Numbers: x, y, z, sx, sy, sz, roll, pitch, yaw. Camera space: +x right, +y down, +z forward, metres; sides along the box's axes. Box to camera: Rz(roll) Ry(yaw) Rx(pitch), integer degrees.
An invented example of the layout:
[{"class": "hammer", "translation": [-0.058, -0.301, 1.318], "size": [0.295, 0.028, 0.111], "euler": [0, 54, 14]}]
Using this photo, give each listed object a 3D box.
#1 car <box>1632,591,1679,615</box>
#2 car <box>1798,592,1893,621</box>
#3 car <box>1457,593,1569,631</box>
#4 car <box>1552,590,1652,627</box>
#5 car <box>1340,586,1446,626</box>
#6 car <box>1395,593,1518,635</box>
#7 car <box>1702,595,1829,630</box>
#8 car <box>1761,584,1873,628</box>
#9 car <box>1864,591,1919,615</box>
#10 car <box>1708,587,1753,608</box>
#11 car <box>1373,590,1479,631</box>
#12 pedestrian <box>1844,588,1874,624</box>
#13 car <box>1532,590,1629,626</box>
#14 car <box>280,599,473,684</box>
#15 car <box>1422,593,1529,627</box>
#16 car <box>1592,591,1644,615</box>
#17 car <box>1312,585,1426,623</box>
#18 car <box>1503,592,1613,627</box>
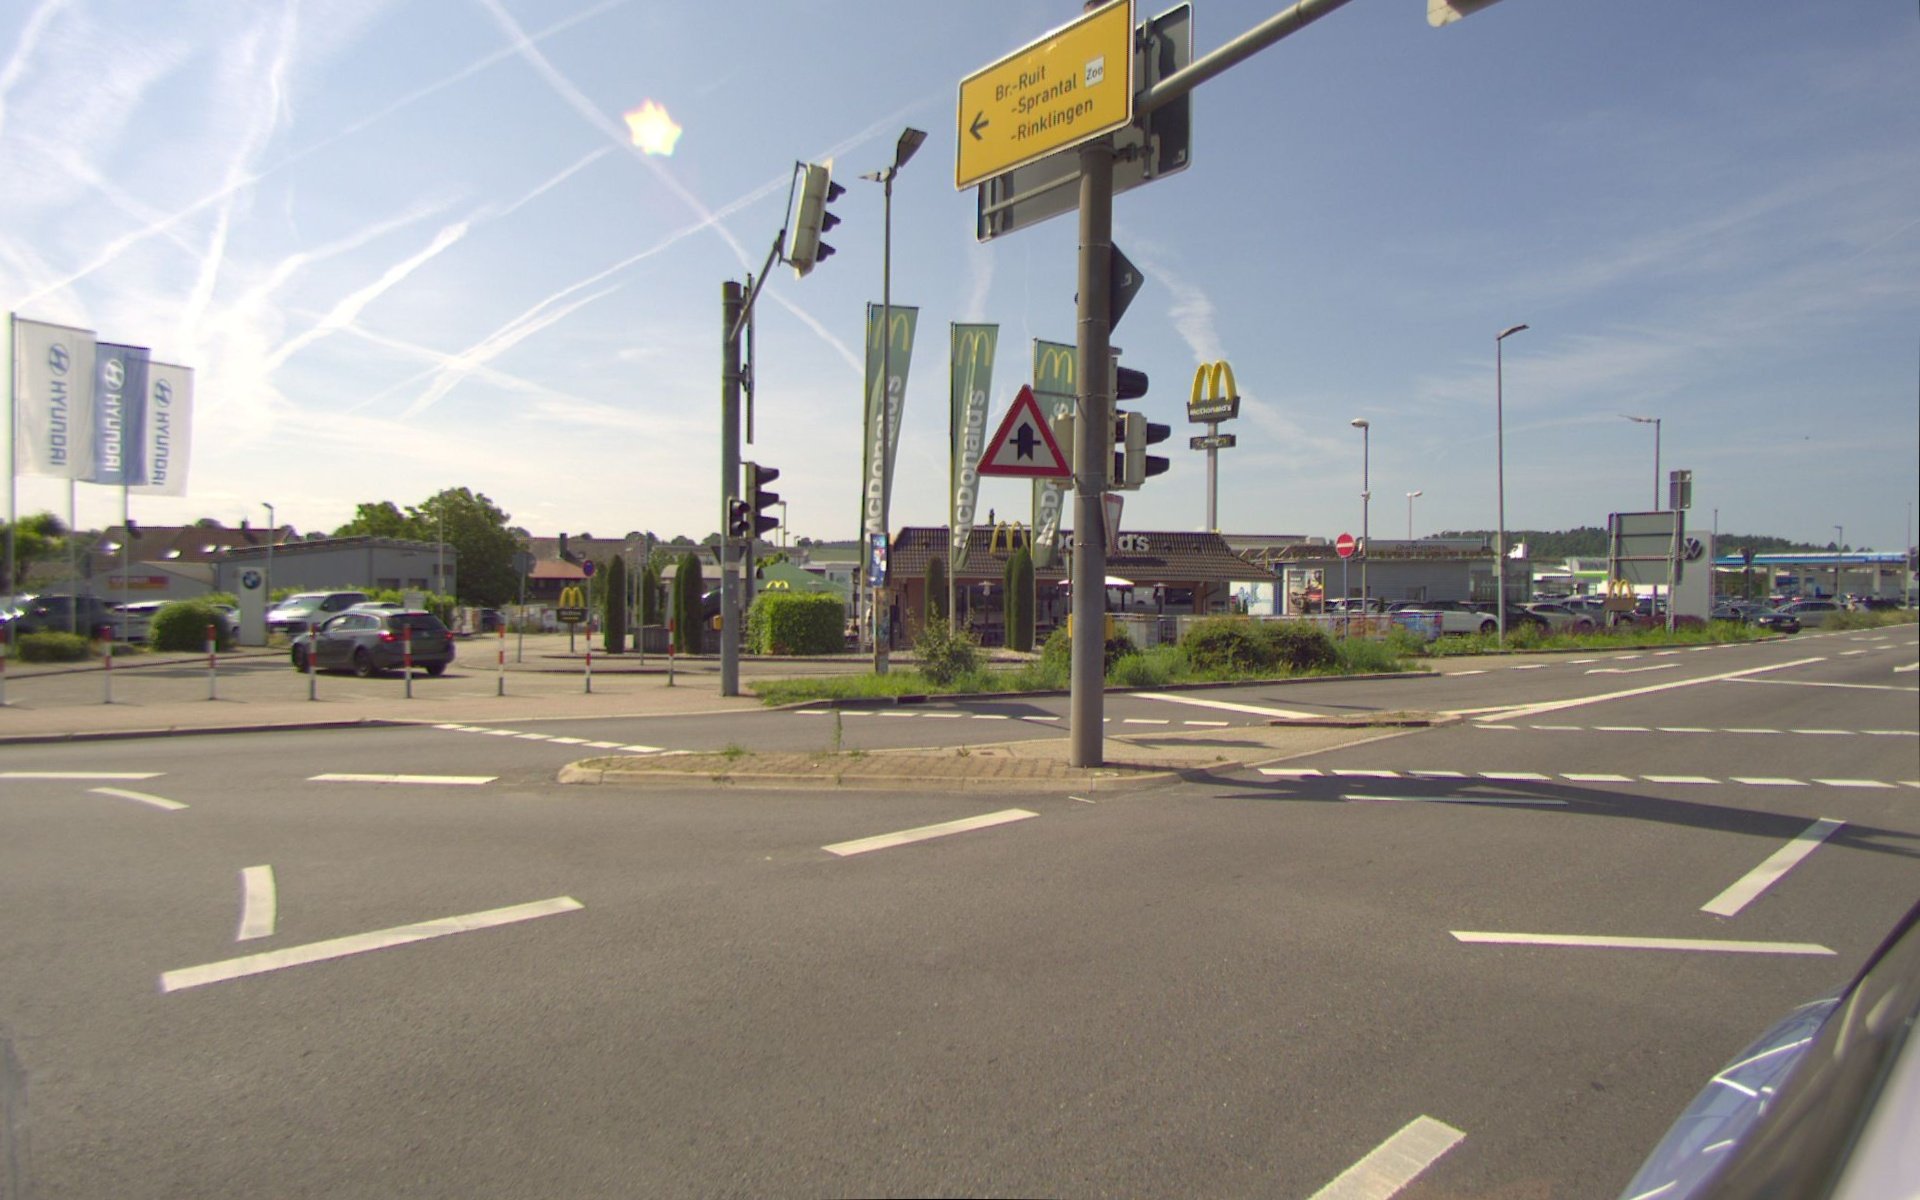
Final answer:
[{"class": "car", "translation": [51.313, 0.204, 74.595], "size": [4.463, 1.675, 1.965], "euler": [0, 2, -44]}, {"class": "car", "translation": [53.972, 0.347, 61.797], "size": [3.955, 1.578, 1.700], "euler": [2, 2, 23]}, {"class": "car", "translation": [24.739, 0.524, 45.357], "size": [4.009, 1.551, 1.778], "euler": [1, 2, -4]}, {"class": "car", "translation": [32.720, 0.394, 51.684], "size": [3.976, 1.691, 1.765], "euler": [2, 2, 20]}, {"class": "car", "translation": [20.060, 0.269, 46.974], "size": [4.087, 1.691, 1.778], "euler": [1, 2, -4]}, {"class": "car", "translation": [20.696, 0.556, 42.284], "size": [4.149, 1.595, 1.863], "euler": [1, 2, -4]}, {"class": "car", "translation": [35.454, 0.575, 44.746], "size": [1.931, 1.350, 4.808], "euler": [-3, -2, 5]}, {"class": "car", "translation": [47.368, 0.305, 56.018], "size": [4.297, 2.240, 1.752], "euler": [2, 2, 21]}, {"class": "car", "translation": [72.117, 0.250, 77.095], "size": [4.489, 1.675, 1.762], "euler": [2, 2, 25]}, {"class": "car", "translation": [65.819, -0.196, 86.419], "size": [4.451, 1.675, 1.777], "euler": [0, 2, -35]}, {"class": "car", "translation": [20.644, 0.454, 44.964], "size": [3.832, 1.691, 1.778], "euler": [1, 2, -4]}, {"class": "pedestrian", "translation": [49.998, 0.330, 56.305], "size": [0.975, 1.935, 0.740], "euler": [2, 1, 16]}, {"class": "car", "translation": [33.069, 0.406, 54.036], "size": [3.941, 1.691, 1.913], "euler": [2, 2, 14]}, {"class": "car", "translation": [-13.152, 0.850, 22.766], "size": [4.417, 1.538, 1.977], "euler": [2, 2, 33]}, {"class": "car", "translation": [24.231, 0.455, 47.644], "size": [4.072, 1.468, 1.798], "euler": [1, 2, -4]}, {"class": "car", "translation": [50.735, 0.218, 77.999], "size": [4.451, 1.675, 1.777], "euler": [0, 2, -35]}, {"class": "car", "translation": [19.849, 0.192, 49.210], "size": [4.722, 1.691, 1.915], "euler": [1, 2, -4]}, {"class": "car", "translation": [28.406, 0.423, 48.137], "size": [4.179, 1.510, 1.751], "euler": [1, 2, -4]}]
